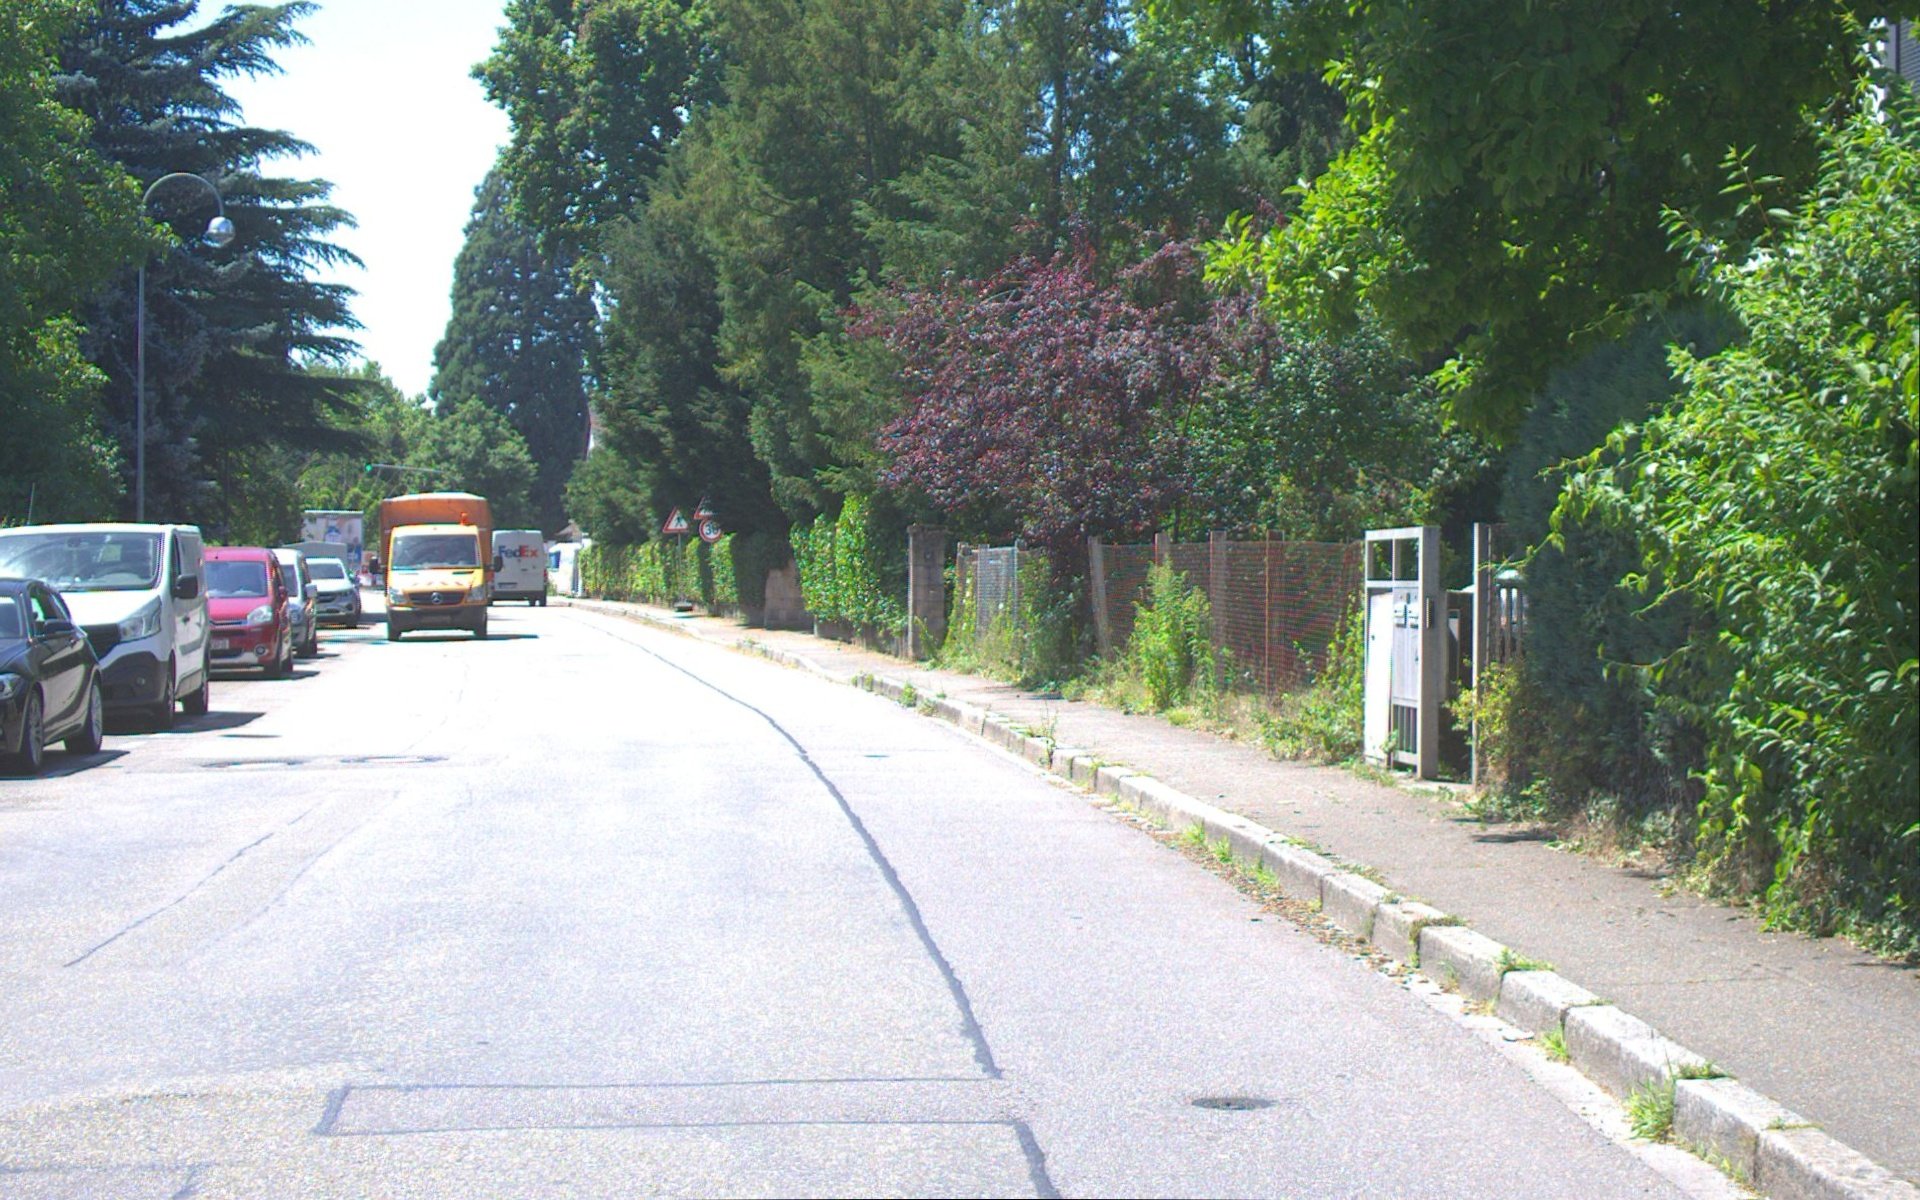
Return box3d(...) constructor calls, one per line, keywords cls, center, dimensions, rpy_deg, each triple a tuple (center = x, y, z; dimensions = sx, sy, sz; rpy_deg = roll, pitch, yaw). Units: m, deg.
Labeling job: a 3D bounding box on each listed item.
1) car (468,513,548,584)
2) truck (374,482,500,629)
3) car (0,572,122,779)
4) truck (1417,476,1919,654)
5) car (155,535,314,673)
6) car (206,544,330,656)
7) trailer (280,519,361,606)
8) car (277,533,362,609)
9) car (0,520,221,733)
box3d(cls="car", center=(-15.370, -1.756, 116.731), dimensions=(2.143, 2.307, 4.854), rpy_deg=(-2, 1, -13))
box3d(cls="truck", center=(-10.596, -0.915, 69.551), dimensions=(2.372, 2.820, 5.660), rpy_deg=(-1, 1, -9))
box3d(cls="car", center=(-7.501, 0.530, 25.778), dimensions=(1.698, 1.379, 4.236), rpy_deg=(-2, 1, -5))
box3d(cls="truck", center=(9.778, -0.483, 47.065), dimensions=(6.608, 2.160, 1.980), rpy_deg=(2, 2, -10))
box3d(cls="car", center=(-9.735, 0.012, 46.392), dimensions=(1.757, 1.721, 4.459), rpy_deg=(-2, 1, -8))
box3d(cls="car", center=(-11.391, -0.041, 56.763), dimensions=(1.647, 1.746, 4.355), rpy_deg=(-1, 1, -7))
box3d(cls="trailer", center=(-15.774, -0.930, 84.783), dimensions=(1.847, 2.033, 4.164), rpy_deg=(-2, 1, -10))
box3d(cls="car", center=(-14.968, -0.686, 80.399), dimensions=(1.850, 1.665, 4.714), rpy_deg=(-2, 1, -10))
box3d(cls="car", center=(-8.323, 0.215, 33.039), dimensions=(1.886, 1.875, 4.981), rpy_deg=(-1, 1, -6))
